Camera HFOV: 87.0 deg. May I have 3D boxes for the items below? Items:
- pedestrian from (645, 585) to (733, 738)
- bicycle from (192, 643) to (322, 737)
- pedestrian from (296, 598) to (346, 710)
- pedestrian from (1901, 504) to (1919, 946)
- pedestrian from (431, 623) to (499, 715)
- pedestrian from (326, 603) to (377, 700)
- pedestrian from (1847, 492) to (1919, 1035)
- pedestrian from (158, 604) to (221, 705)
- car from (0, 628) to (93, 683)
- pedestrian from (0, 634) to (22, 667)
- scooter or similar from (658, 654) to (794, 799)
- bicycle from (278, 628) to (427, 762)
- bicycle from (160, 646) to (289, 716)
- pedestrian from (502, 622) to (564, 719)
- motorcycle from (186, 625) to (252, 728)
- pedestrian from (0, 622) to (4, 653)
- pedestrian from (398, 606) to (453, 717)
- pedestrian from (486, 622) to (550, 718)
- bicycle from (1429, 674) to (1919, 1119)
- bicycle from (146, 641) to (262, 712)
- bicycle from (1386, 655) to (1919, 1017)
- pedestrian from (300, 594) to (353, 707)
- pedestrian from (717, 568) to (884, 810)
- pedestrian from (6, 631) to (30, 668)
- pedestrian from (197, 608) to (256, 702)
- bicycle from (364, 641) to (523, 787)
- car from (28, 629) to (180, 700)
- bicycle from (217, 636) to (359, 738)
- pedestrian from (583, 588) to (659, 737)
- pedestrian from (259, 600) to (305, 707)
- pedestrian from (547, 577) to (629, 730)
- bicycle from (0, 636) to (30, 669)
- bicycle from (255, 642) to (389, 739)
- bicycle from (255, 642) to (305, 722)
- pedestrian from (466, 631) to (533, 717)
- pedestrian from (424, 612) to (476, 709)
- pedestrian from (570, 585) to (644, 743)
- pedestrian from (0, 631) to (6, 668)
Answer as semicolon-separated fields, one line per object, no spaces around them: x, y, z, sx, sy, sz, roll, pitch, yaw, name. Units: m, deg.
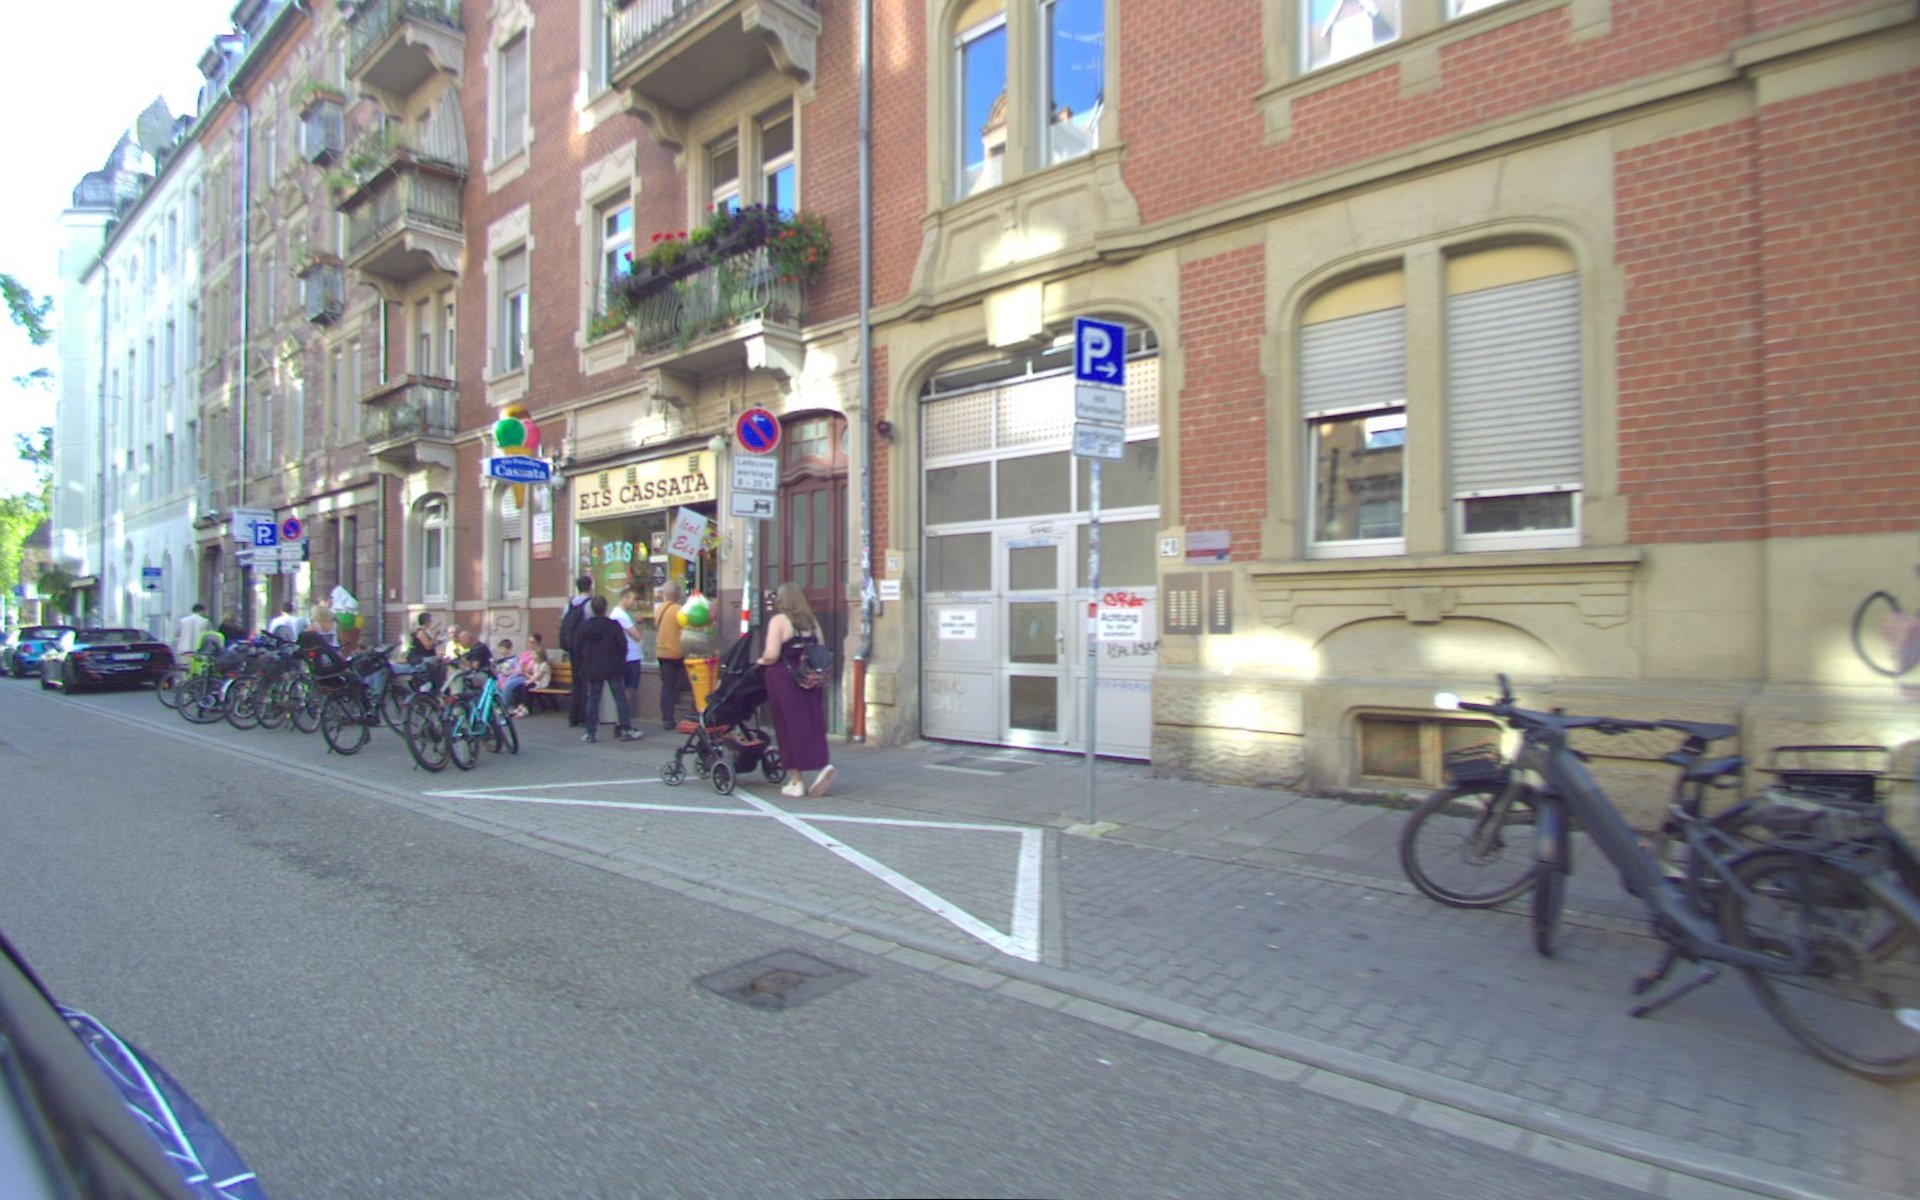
-3.158;0.694;11.792;0.763;1.709;0.657;-2;-1;41;pedestrian
-9.531;1.190;13.785;0.583;1.129;1.568;-1;0;5;bicycle
-10.398;0.863;16.469;0.597;1.765;0.727;-1;-1;-38;pedestrian
3.833;0.470;3.486;0.545;1.674;0.679;-1;-1;11;pedestrian
-7.403;1.009;15.140;0.605;1.323;0.716;-2;-1;38;pedestrian
-11.501;0.959;19.136;0.678;1.773;0.668;-1;-1;-19;pedestrian
3.353;0.513;3.131;0.659;1.722;0.564;-1;-1;6;pedestrian
-14.391;0.993;18.924;0.750;1.832;0.668;-1;-1;-19;pedestrian
-26.308;1.545;28.861;4.006;1.426;1.654;-2;-1;38;car
-37.118;1.978;39.577;0.589;1.253;0.694;-1;-1;-42;pedestrian
-1.895;0.985;8.188;0.920;1.063;0.600;-2;-1;36;scooter or similar
-6.694;1.005;11.252;0.521;1.332;1.674;-1;0;5;bicycle
-12.015;1.308;16.589;1.658;1.038;0.410;-1;-1;-28;bicycle
-6.021;0.976;14.279;0.372;1.323;0.694;-2;-1;37;pedestrian
-10.972;1.081;15.028;0.697;1.395;2.029;-1;-1;-34;motorcycle
-54.757;2.120;57.318;0.879;1.722;0.834;-2;-1;41;pedestrian
-8.083;0.915;15.296;0.584;1.628;0.547;-2;-1;41;pedestrian
-6.347;0.983;14.531;0.439;1.323;0.711;-2;-1;37;pedestrian
2.529;0.851;3.329;0.475;1.067;1.911;-2;0;-25;bicycle
-12.701;1.279;17.028;1.556;1.125;0.375;-1;-1;-10;bicycle
2.781;0.816;4.107;0.487;1.103;1.908;-2;0;-40;bicycle
-11.005;0.855;17.586;0.637;1.906;0.603;-1;-1;-19;pedestrian
-1.188;0.623;7.618;0.825;1.674;0.904;-2;-1;33;pedestrian
-36.047;1.870;38.722;0.684;1.383;0.628;-2;-1;45;pedestrian
-14.257;1.051;19.678;0.750;1.773;0.668;-1;-1;-19;pedestrian
-4.983;1.033;9.945;0.795;1.167;2.275;-1;0;-12;bicycle
-19.117;1.362;22.506;5.112;1.361;1.793;-2;-1;41;car
-8.931;1.125;13.539;0.583;1.209;1.788;-1;0;5;bicycle
-3.994;0.724;11.956;0.579;1.709;0.663;-1;-1;11;pedestrian
-11.572;0.890;17.275;0.596;1.765;0.947;-1;-1;-36;pedestrian
-4.719;0.664;12.861;0.658;1.868;0.761;-1;-1;10;pedestrian
-35.747;1.977;37.502;0.688;1.184;1.848;-2;-1;43;bicycle
-8.340;1.148;13.323;0.548;1.129;1.735;-1;0;5;bicycle
-10.361;1.218;15.393;0.570;1.098;1.742;-1;-1;-36;bicycle
-6.757;1.062;14.850;0.585;1.205;0.701;-2;-1;37;pedestrian
-8.115;0.944;16.087;0.597;1.481;0.727;-1;-1;-38;pedestrian
-3.942;0.695;11.346;0.637;1.709;0.566;-1;-1;-5;pedestrian
-36.569;1.866;38.280;0.740;1.383;0.680;-2;-1;45;pedestrian
